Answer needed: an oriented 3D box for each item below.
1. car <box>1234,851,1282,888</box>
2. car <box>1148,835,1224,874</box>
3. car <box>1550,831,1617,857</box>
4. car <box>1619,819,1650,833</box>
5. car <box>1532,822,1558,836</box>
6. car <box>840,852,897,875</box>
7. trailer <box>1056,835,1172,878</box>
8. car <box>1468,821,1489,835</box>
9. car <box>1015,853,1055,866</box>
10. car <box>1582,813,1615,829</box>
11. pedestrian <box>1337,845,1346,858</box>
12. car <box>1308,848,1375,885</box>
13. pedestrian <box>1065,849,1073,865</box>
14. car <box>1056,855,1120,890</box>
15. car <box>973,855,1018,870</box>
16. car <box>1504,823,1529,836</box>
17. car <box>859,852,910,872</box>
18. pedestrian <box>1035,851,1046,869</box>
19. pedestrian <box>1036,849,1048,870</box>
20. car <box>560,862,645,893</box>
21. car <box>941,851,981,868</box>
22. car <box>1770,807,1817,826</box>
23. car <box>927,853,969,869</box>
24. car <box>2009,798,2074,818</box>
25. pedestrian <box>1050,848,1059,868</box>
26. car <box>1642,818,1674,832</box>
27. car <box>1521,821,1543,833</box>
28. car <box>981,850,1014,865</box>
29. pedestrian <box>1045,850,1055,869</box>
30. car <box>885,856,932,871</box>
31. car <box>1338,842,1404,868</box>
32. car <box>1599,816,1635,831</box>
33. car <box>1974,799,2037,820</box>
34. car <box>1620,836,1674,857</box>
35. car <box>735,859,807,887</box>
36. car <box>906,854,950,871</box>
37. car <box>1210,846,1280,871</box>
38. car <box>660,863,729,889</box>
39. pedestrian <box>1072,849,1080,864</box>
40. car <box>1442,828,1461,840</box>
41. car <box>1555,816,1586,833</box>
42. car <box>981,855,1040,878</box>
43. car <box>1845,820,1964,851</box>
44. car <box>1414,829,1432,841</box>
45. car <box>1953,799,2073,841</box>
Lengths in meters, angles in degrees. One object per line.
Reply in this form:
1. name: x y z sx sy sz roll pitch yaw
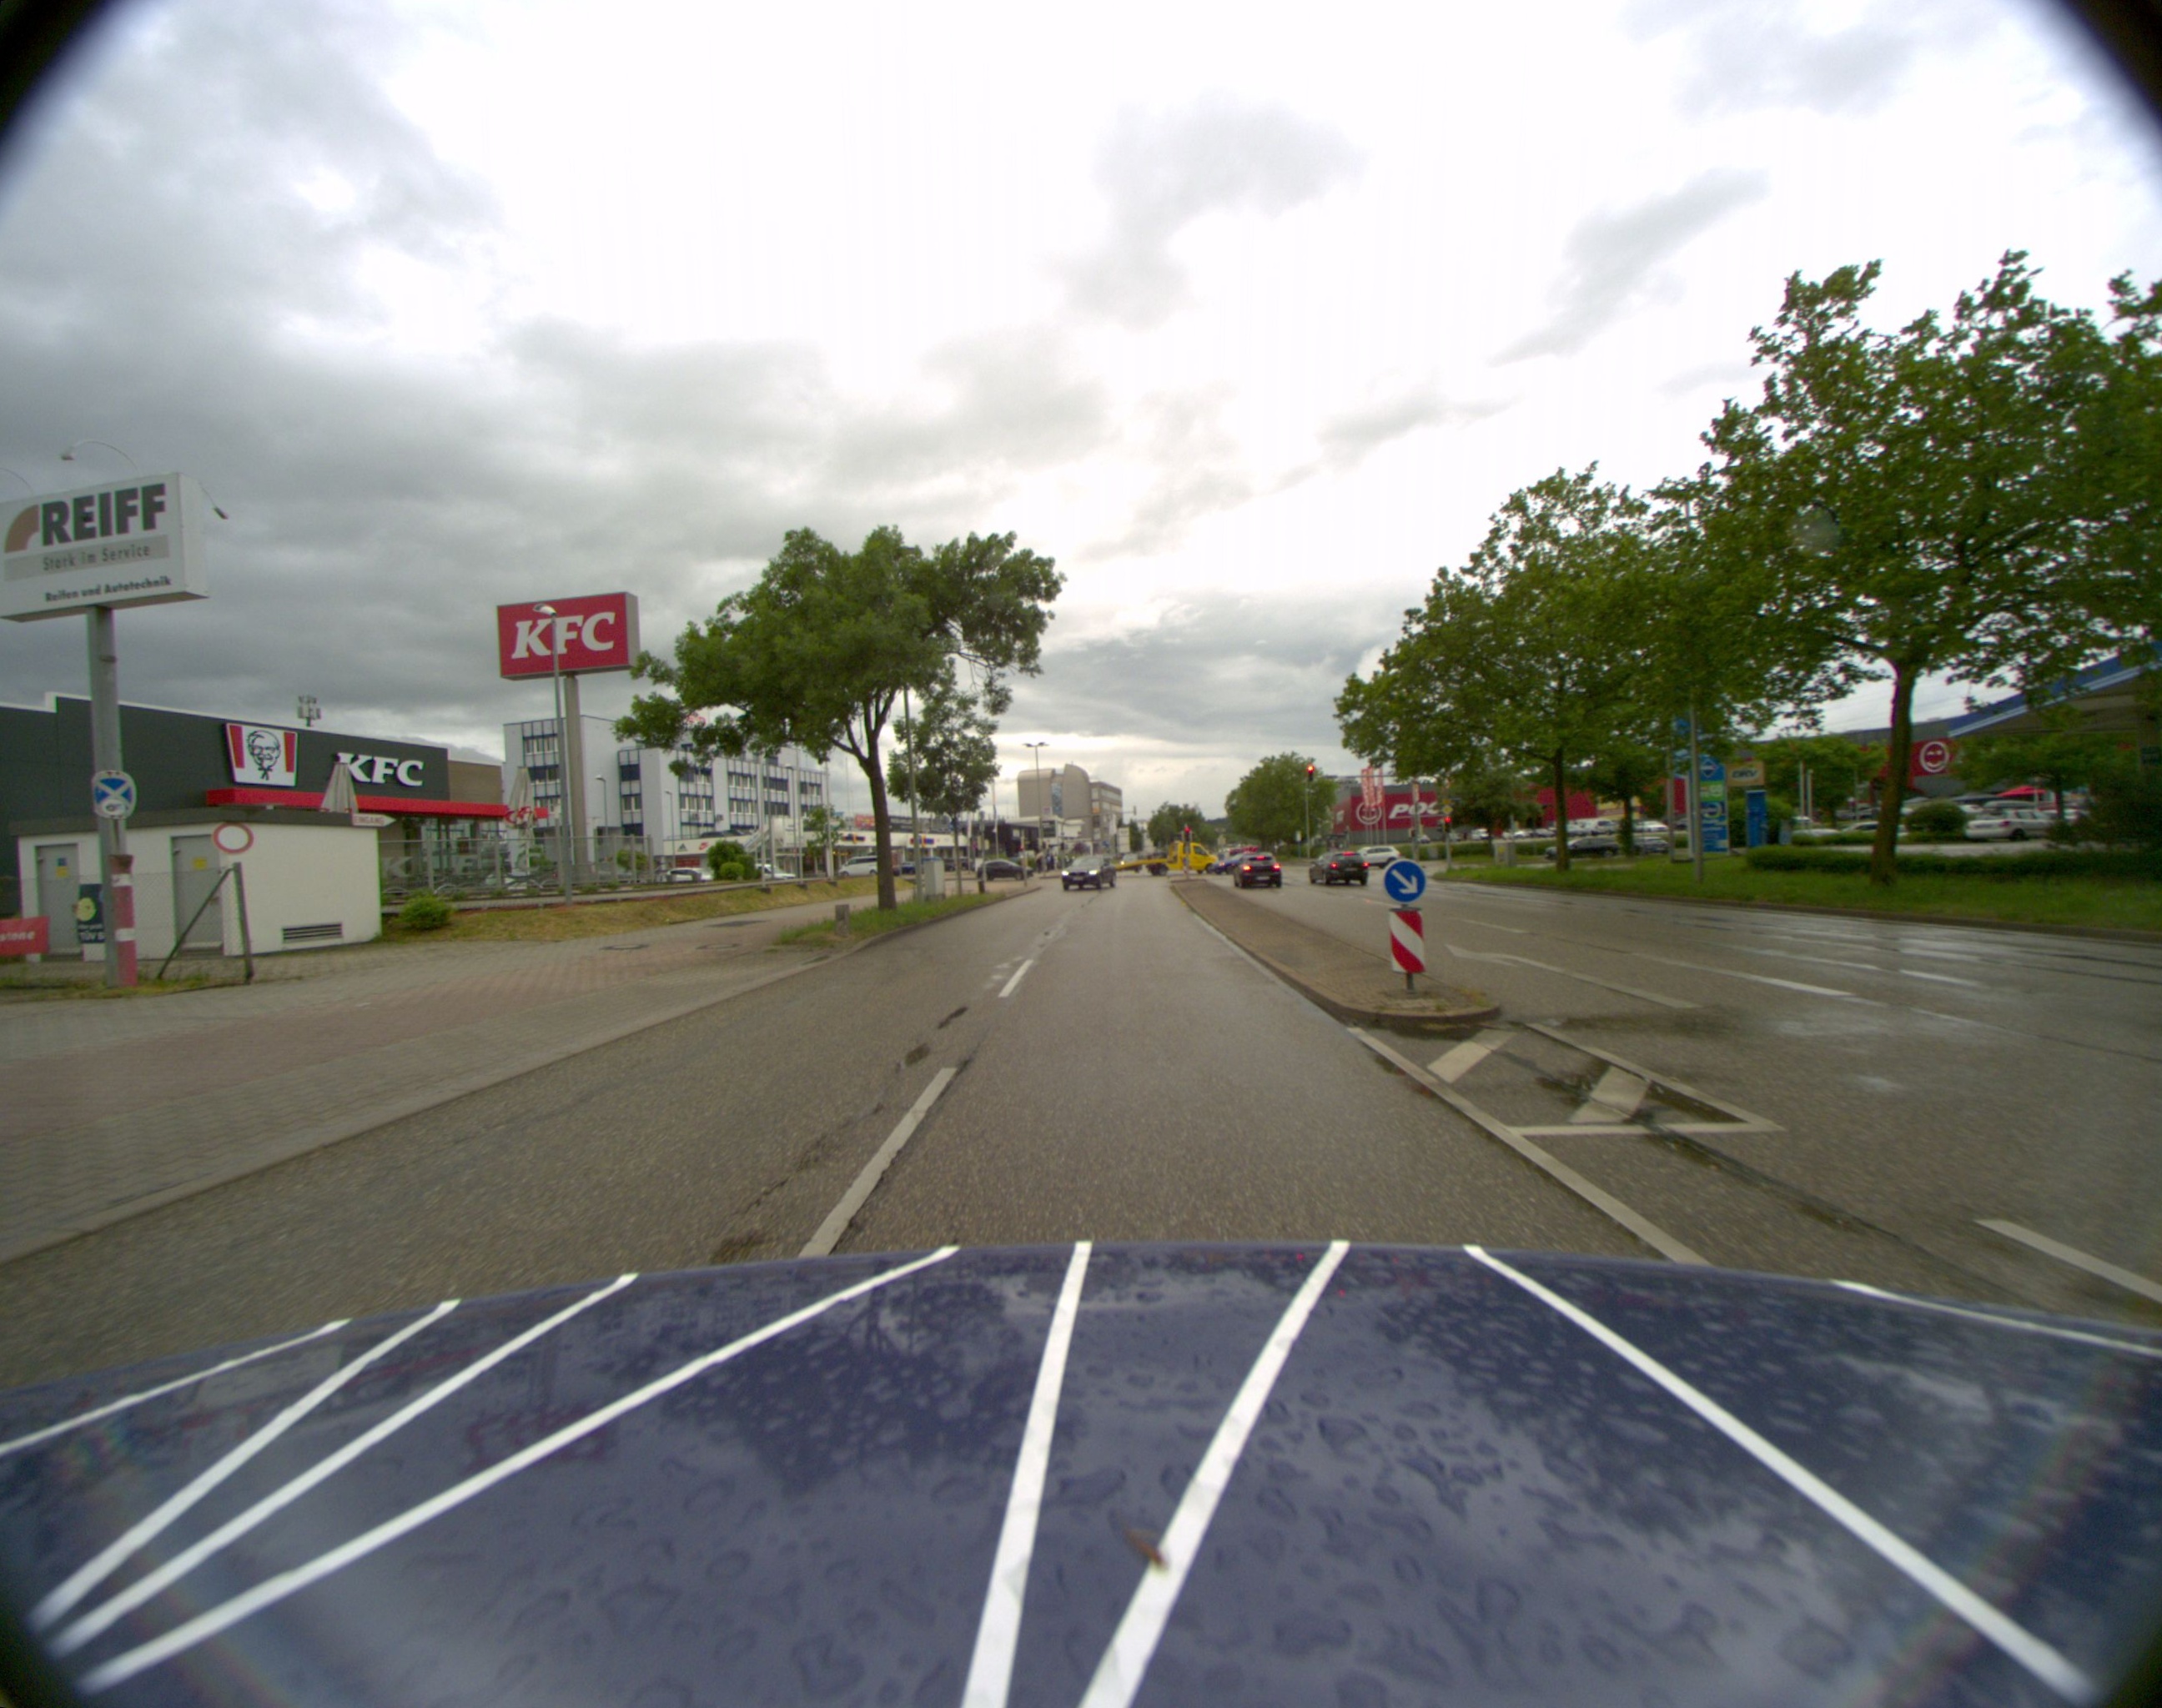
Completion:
1. car: 7.773 0.650 33.625 1.646 1.499 3.895 -2 0 7
2. car: 7.780 0.056 56.670 5.016 2.459 2.245 -4 0 -11
3. car: 35.333 -0.704 53.502 3.534 1.687 1.603 -3 1 9
4. car: 69.402 -3.516 95.282 1.670 1.635 3.966 -2 0 13
5. car: 60.111 -3.261 98.414 1.670 1.635 3.966 -2 0 13
6. car: -20.097 0.874 71.889 4.778 2.002 2.002 -2 0 15
7. trailer: 2.403 0.185 55.505 7.972 2.459 2.309 -4 0 -11
8. car: 59.782 -3.904 114.433 1.789 1.914 3.753 -2 0 11
9. car: -5.260 0.642 86.999 4.119 1.385 1.901 -2 0 14
10. car: 56.589 -3.586 83.109 1.629 1.635 3.830 -2 0 13
11. pedestrian: 28.278 -0.248 82.526 0.780 1.423 0.641 -1 1 8
12. car: 11.560 0.515 34.060 1.997 1.499 4.733 -1 0 8
13. pedestrian: -1.403 0.347 86.412 0.700 1.701 0.698 -1 0 15
14. car: 0.439 0.856 37.676 1.898 1.544 4.598 -2 0 17
15. car: -8.587 0.838 76.400 4.118 1.385 1.826 -2 0 18
16. car: 57.327 -3.191 100.023 1.670 1.635 3.966 -2 0 13
17. car: -19.393 0.770 75.070 4.367 1.809 1.899 -2 0 14
18. pedestrian: -3.904 0.555 73.539 0.817 1.765 0.695 -2 2 -29
19. pedestrian: -3.680 0.514 71.568 0.817 2.002 0.695 -2 1 -29
20. car: -29.607 1.436 47.188 1.890 1.730 4.505 -2 0 8
21. car: -14.569 0.674 92.126 4.367 1.895 1.899 -2 0 14
22. car: 69.977 -3.674 74.667 1.670 1.635 3.830 -2 0 13
23. car: -15.693 0.781 89.715 4.367 1.753 1.899 -2 0 14
24. car: 88.807 -4.216 70.340 1.670 1.635 3.830 -2 0 13
25. pedestrian: -2.672 0.373 76.931 0.740 2.002 0.698 -1 0 12
26. car: 71.915 -3.588 94.744 1.670 1.635 3.966 -2 0 13
27. car: 66.817 -4.027 112.633 1.694 1.635 3.966 -2 0 13
28. car: -11.404 0.463 103.707 3.992 2.002 1.913 -2 0 17
29. pedestrian: -3.073 0.498 74.775 0.814 1.846 0.698 0 2 15
30. car: -18.079 0.979 79.640 4.367 1.385 1.825 -2 0 14
31. car: 21.085 0.076 55.313 3.997 1.544 1.901 -4 3 0
32. car: 55.855 -3.151 79.188 1.670 1.373 3.913 -2 0 13
33. car: 86.064 -4.136 70.805 1.670 1.635 3.830 -2 0 13
34. car: 44.337 -0.611 59.592 1.683 1.544 3.662 -2 0 5
35. car: -21.324 1.338 52.285 4.242 1.772 1.801 -2 -2 10
36. car: -17.112 0.893 84.936 4.367 1.753 1.899 -2 0 14
37. car: 11.416 0.316 53.134 4.546 1.623 1.802 -1 0 5
38. car: -27.005 1.519 53.135 3.994 1.698 1.825 -2 0 11
39. pedestrian: -0.557 0.315 89.004 0.713 1.701 0.698 -1 0 15
40. car: 56.272 -3.059 115.315 1.694 1.635 3.966 -2 0 13
41. car: 53.606 -3.238 83.238 1.670 1.635 3.830 -2 0 13
42. car: -5.192 0.923 56.323 3.995 1.532 1.815 -2 2 6
43. car: 46.475 -0.982 43.041 1.927 1.579 4.589 -2 0 5
44. car: 50.230 -2.835 111.721 1.694 1.635 3.966 -2 0 13
45. car: 43.572 -1.572 35.563 3.699 1.787 1.813 -2 1 -6
